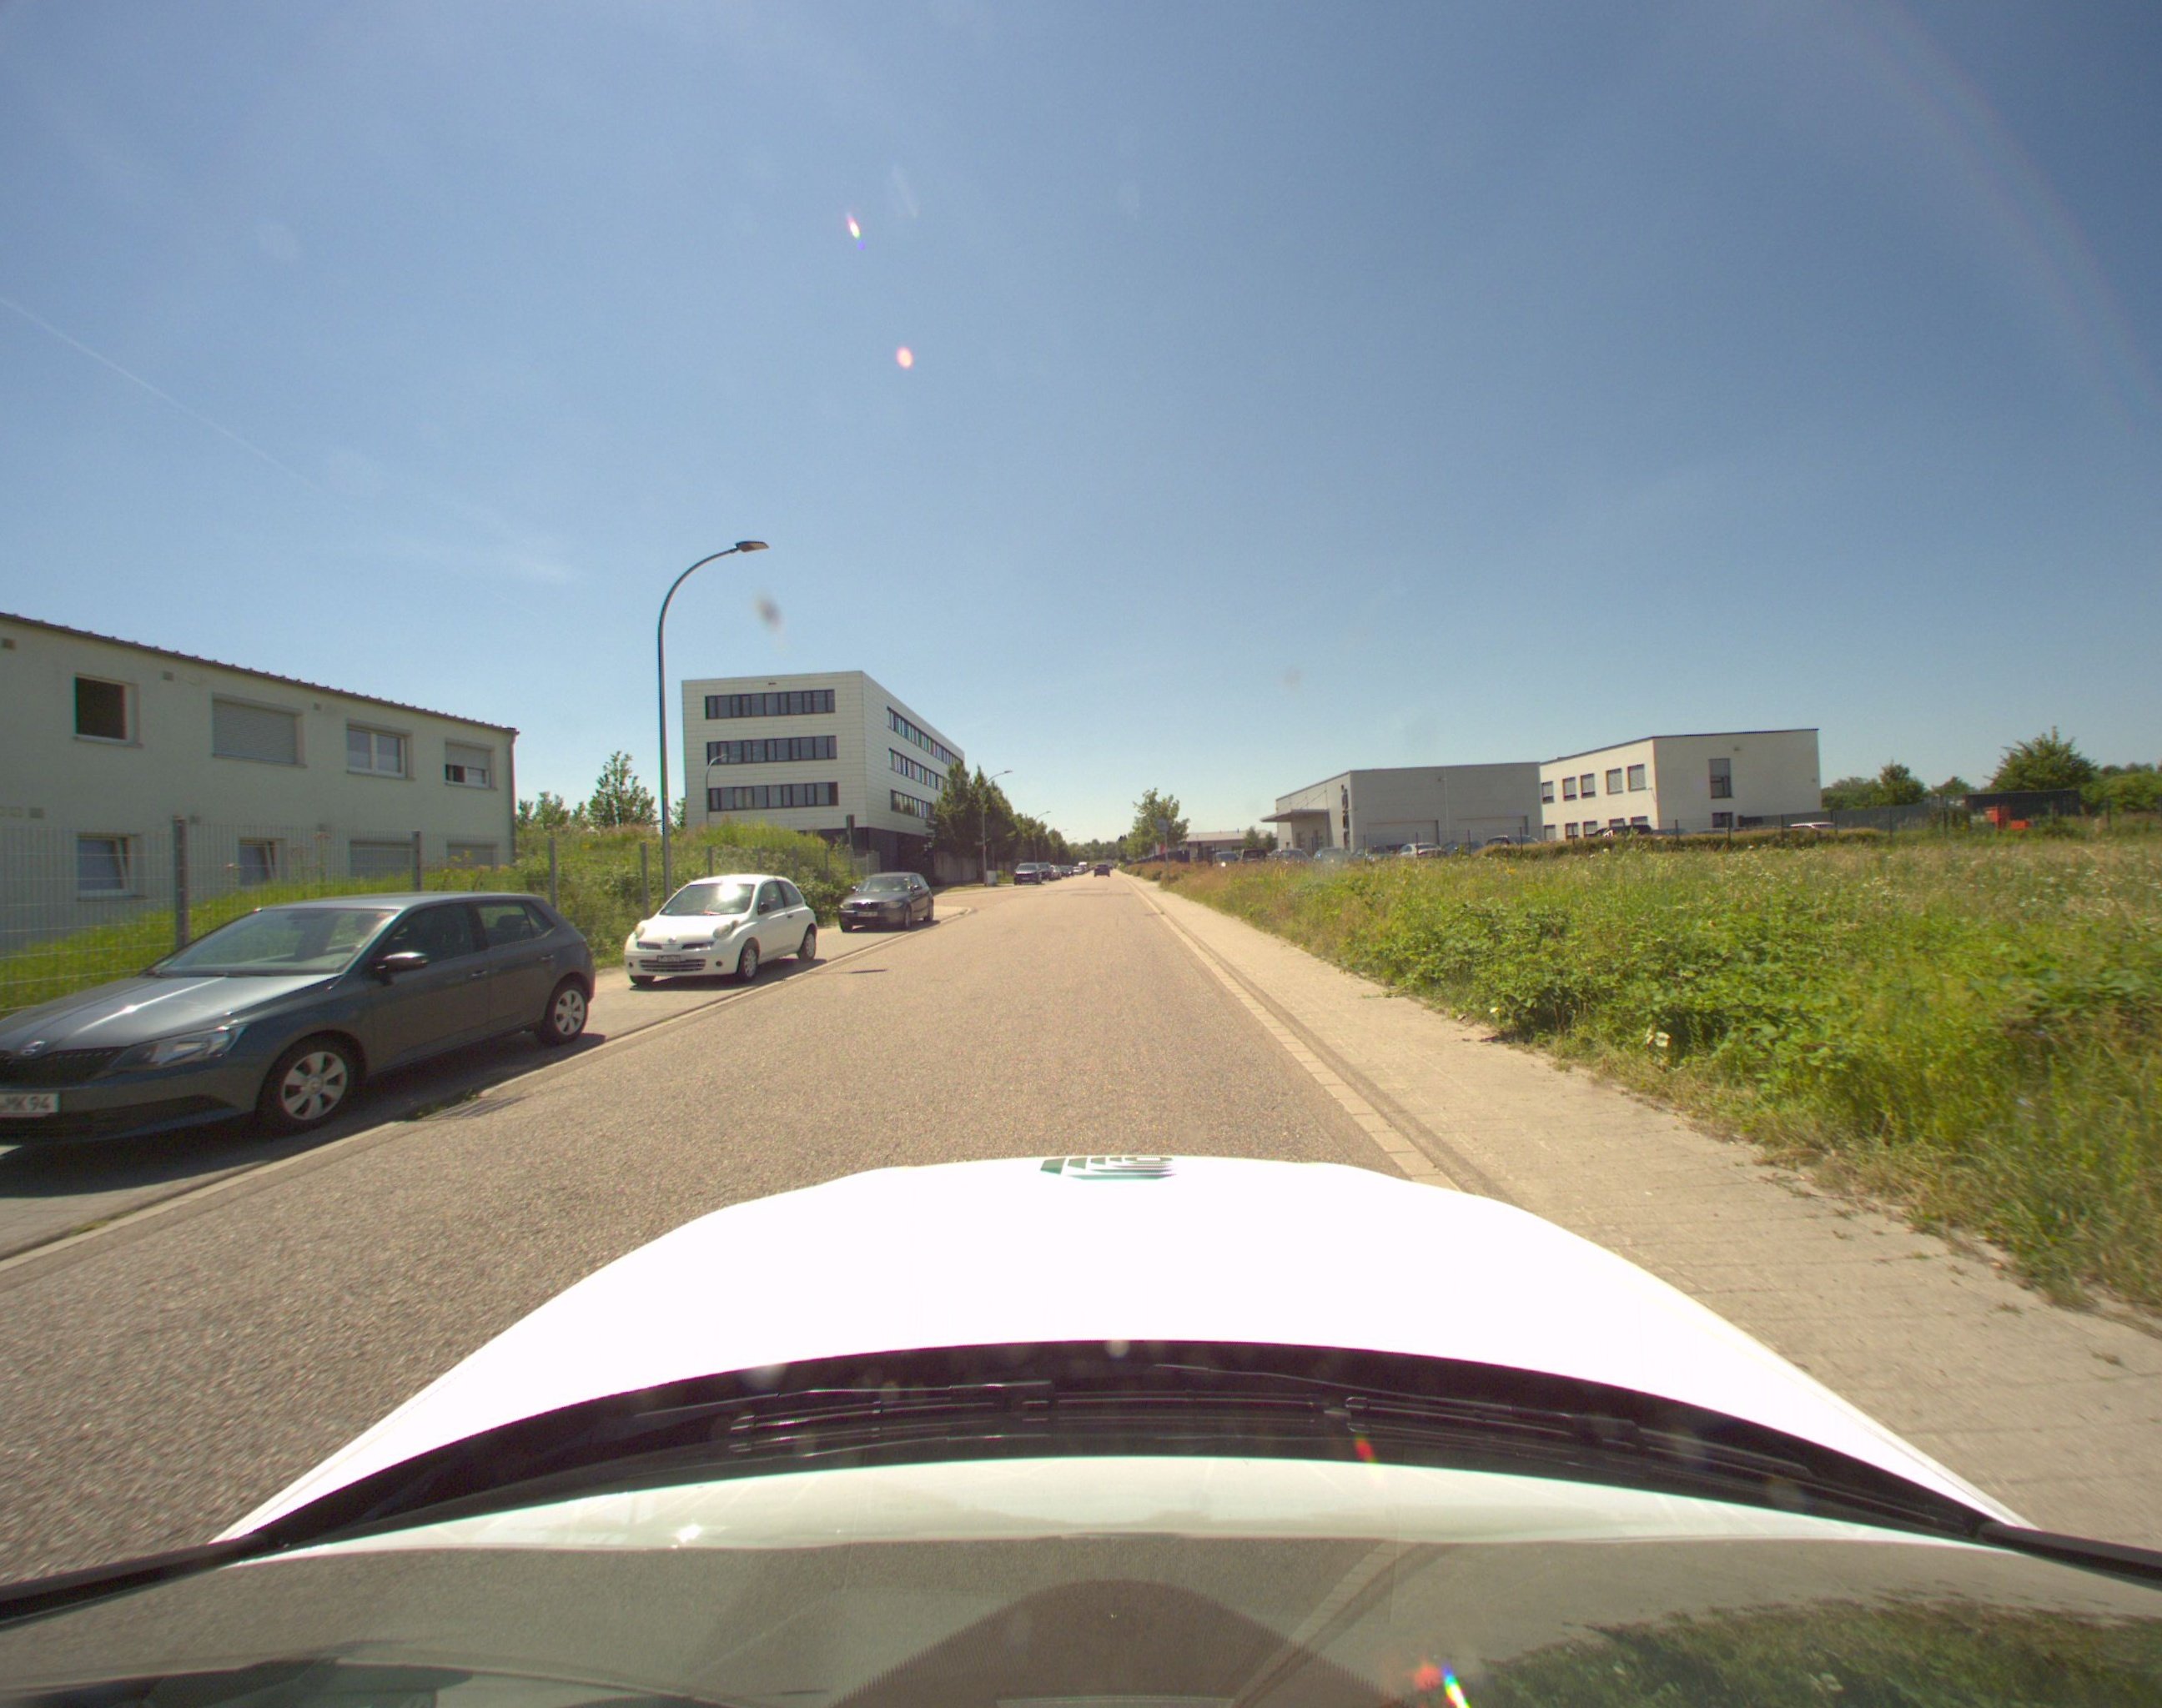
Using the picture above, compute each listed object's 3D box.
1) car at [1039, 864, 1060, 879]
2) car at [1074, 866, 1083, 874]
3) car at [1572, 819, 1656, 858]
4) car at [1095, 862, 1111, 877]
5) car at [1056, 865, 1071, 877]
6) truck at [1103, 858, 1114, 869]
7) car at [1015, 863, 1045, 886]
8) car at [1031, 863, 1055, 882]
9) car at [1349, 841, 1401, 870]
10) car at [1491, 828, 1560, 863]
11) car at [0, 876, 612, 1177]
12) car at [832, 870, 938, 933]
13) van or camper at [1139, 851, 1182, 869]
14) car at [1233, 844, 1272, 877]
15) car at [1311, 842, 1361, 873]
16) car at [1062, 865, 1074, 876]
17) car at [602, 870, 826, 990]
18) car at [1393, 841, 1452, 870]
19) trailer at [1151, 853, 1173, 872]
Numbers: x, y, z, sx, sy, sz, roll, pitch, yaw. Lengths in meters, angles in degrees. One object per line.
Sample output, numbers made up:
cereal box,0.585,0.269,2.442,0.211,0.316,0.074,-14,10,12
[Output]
car,-3.157,1.778,81.838,1.764,1.431,4.202,-2,-1,2
car,-0.564,3.085,158.905,1.715,1.476,3.856,-2,-1,-1
car,28.409,-0.791,43.555,1.742,1.847,4.126,-3,-1,1
car,2.516,1.756,93.179,1.783,1.623,3.810,0,-1,2
car,-2.302,2.261,109.030,1.764,1.431,4.202,-2,-1,2
truck,7.846,2.776,231.522,2.921,2.974,6.422,0,-1,2
car,-3.807,1.519,61.337,1.764,1.588,4.482,-2,-1,2
car,-3.427,1.646,74.336,1.764,1.624,4.583,-2,-1,2
car,15.376,0.102,42.739,1.452,1.413,3.332,-3,-1,1
car,23.304,-0.403,42.876,1.509,1.634,3.784,-3,-1,1
car,-5.637,0.981,6.281,1.668,1.530,3.911,-2,-1,2
car,-5.075,1.181,21.648,1.668,1.450,4.070,-2,-1,2
van or camper,12.821,0.985,131.851,6.734,2.585,2.636,-3,-1,0
car,8.756,0.356,41.745,1.461,1.574,2.662,-3,-1,2
car,13.197,0.208,42.332,1.509,1.496,3.332,-3,-1,1
car,-2.051,2.534,127.647,1.765,1.611,4.247,-2,-1,1
car,-5.483,1.050,12.738,1.668,1.530,3.759,-2,-1,2
car,17.622,0.109,42.168,1.509,1.397,3.540,-3,-1,1
trailer,11.519,1.214,115.563,2.816,2.403,1.418,-4,-1,-3
